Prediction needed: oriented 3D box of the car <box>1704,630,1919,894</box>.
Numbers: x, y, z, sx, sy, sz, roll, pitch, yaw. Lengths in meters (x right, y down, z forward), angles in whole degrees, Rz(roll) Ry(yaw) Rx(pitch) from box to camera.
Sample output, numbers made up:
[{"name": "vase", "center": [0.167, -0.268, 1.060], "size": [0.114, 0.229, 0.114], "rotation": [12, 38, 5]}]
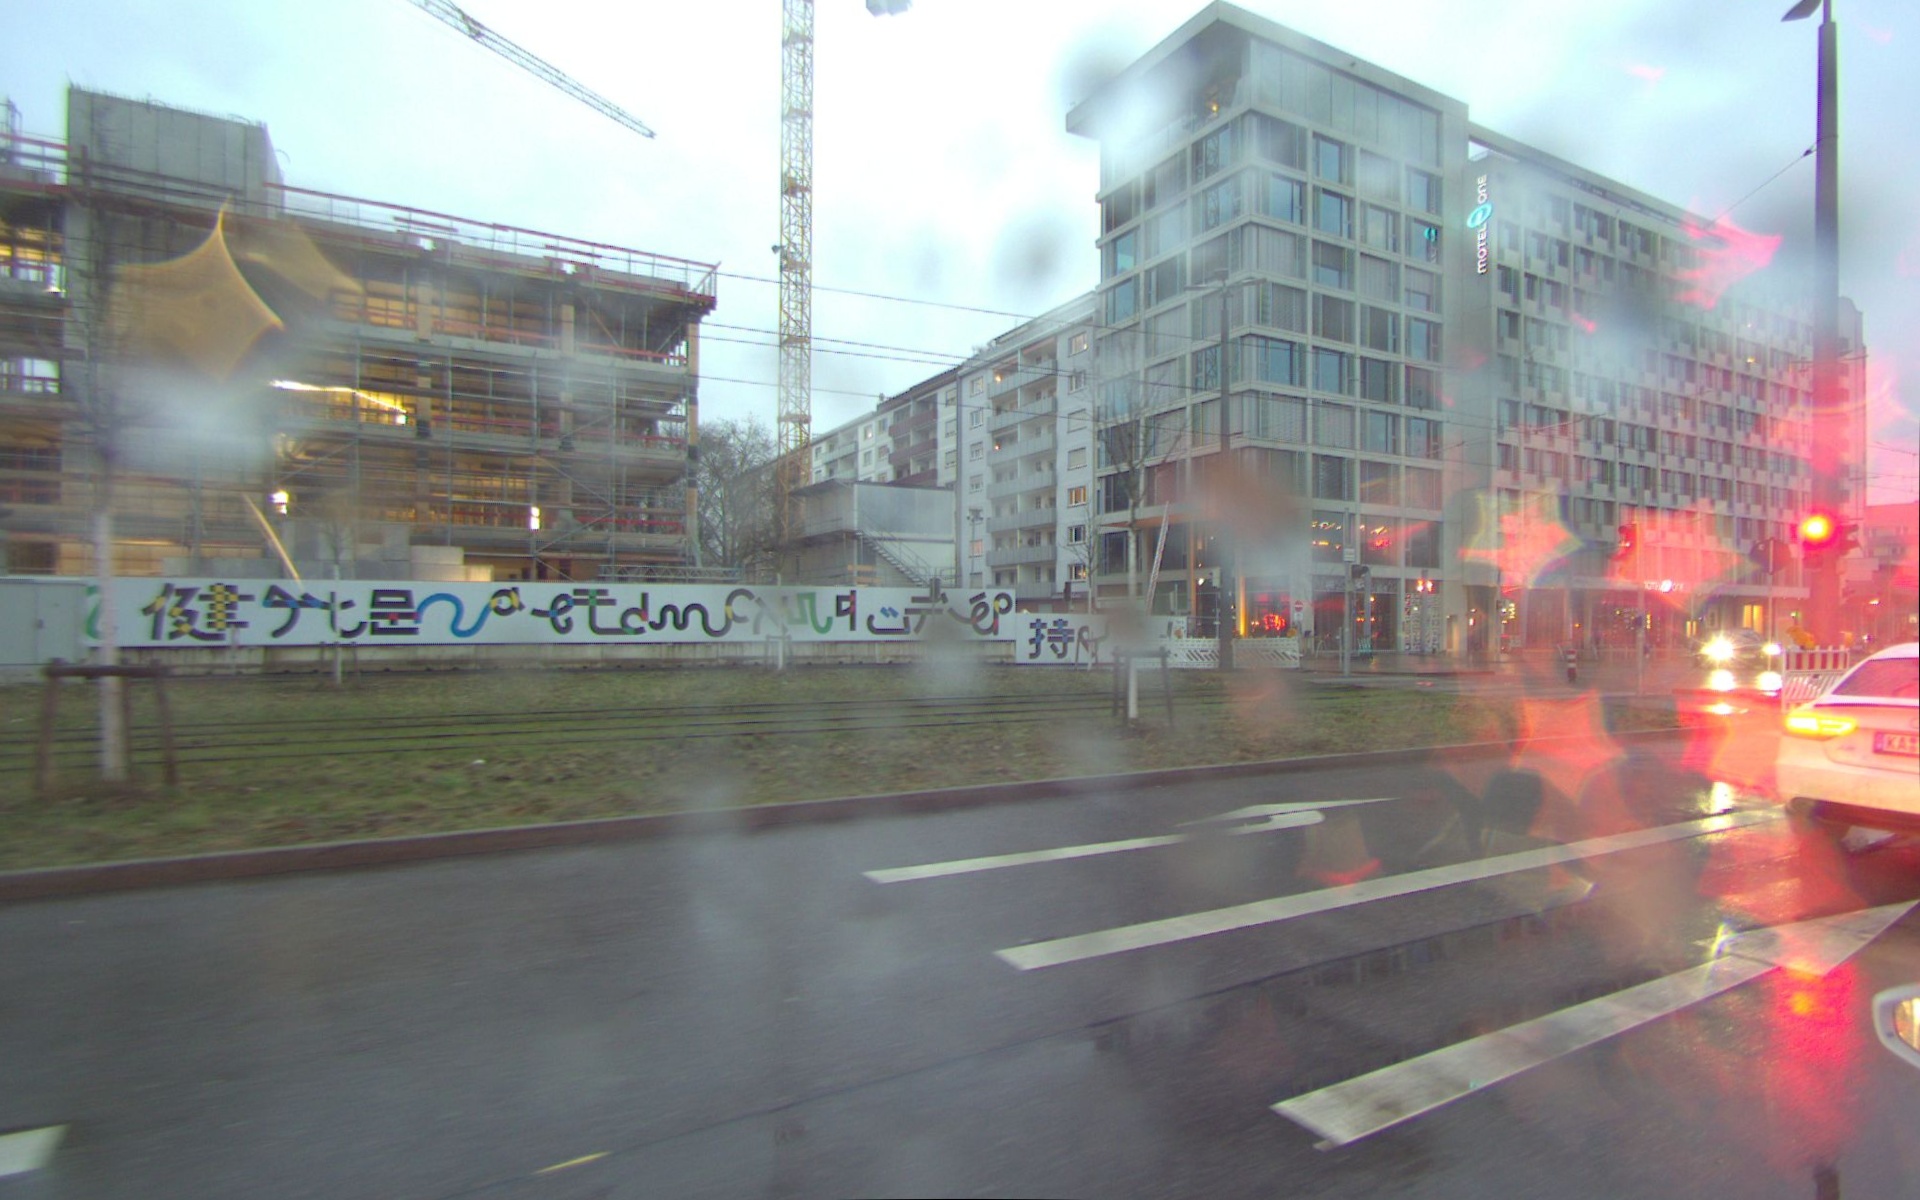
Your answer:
[{"name": "car", "center": [7.255, 0.966, 6.952], "size": [4.320, 1.475, 1.983], "rotation": [1, -1, -32]}]

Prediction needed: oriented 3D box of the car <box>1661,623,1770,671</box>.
[{"name": "car", "center": [27.387, 1.638, 36.566], "size": [1.727, 1.550, 4.328], "rotation": [2, 0, 16]}]
